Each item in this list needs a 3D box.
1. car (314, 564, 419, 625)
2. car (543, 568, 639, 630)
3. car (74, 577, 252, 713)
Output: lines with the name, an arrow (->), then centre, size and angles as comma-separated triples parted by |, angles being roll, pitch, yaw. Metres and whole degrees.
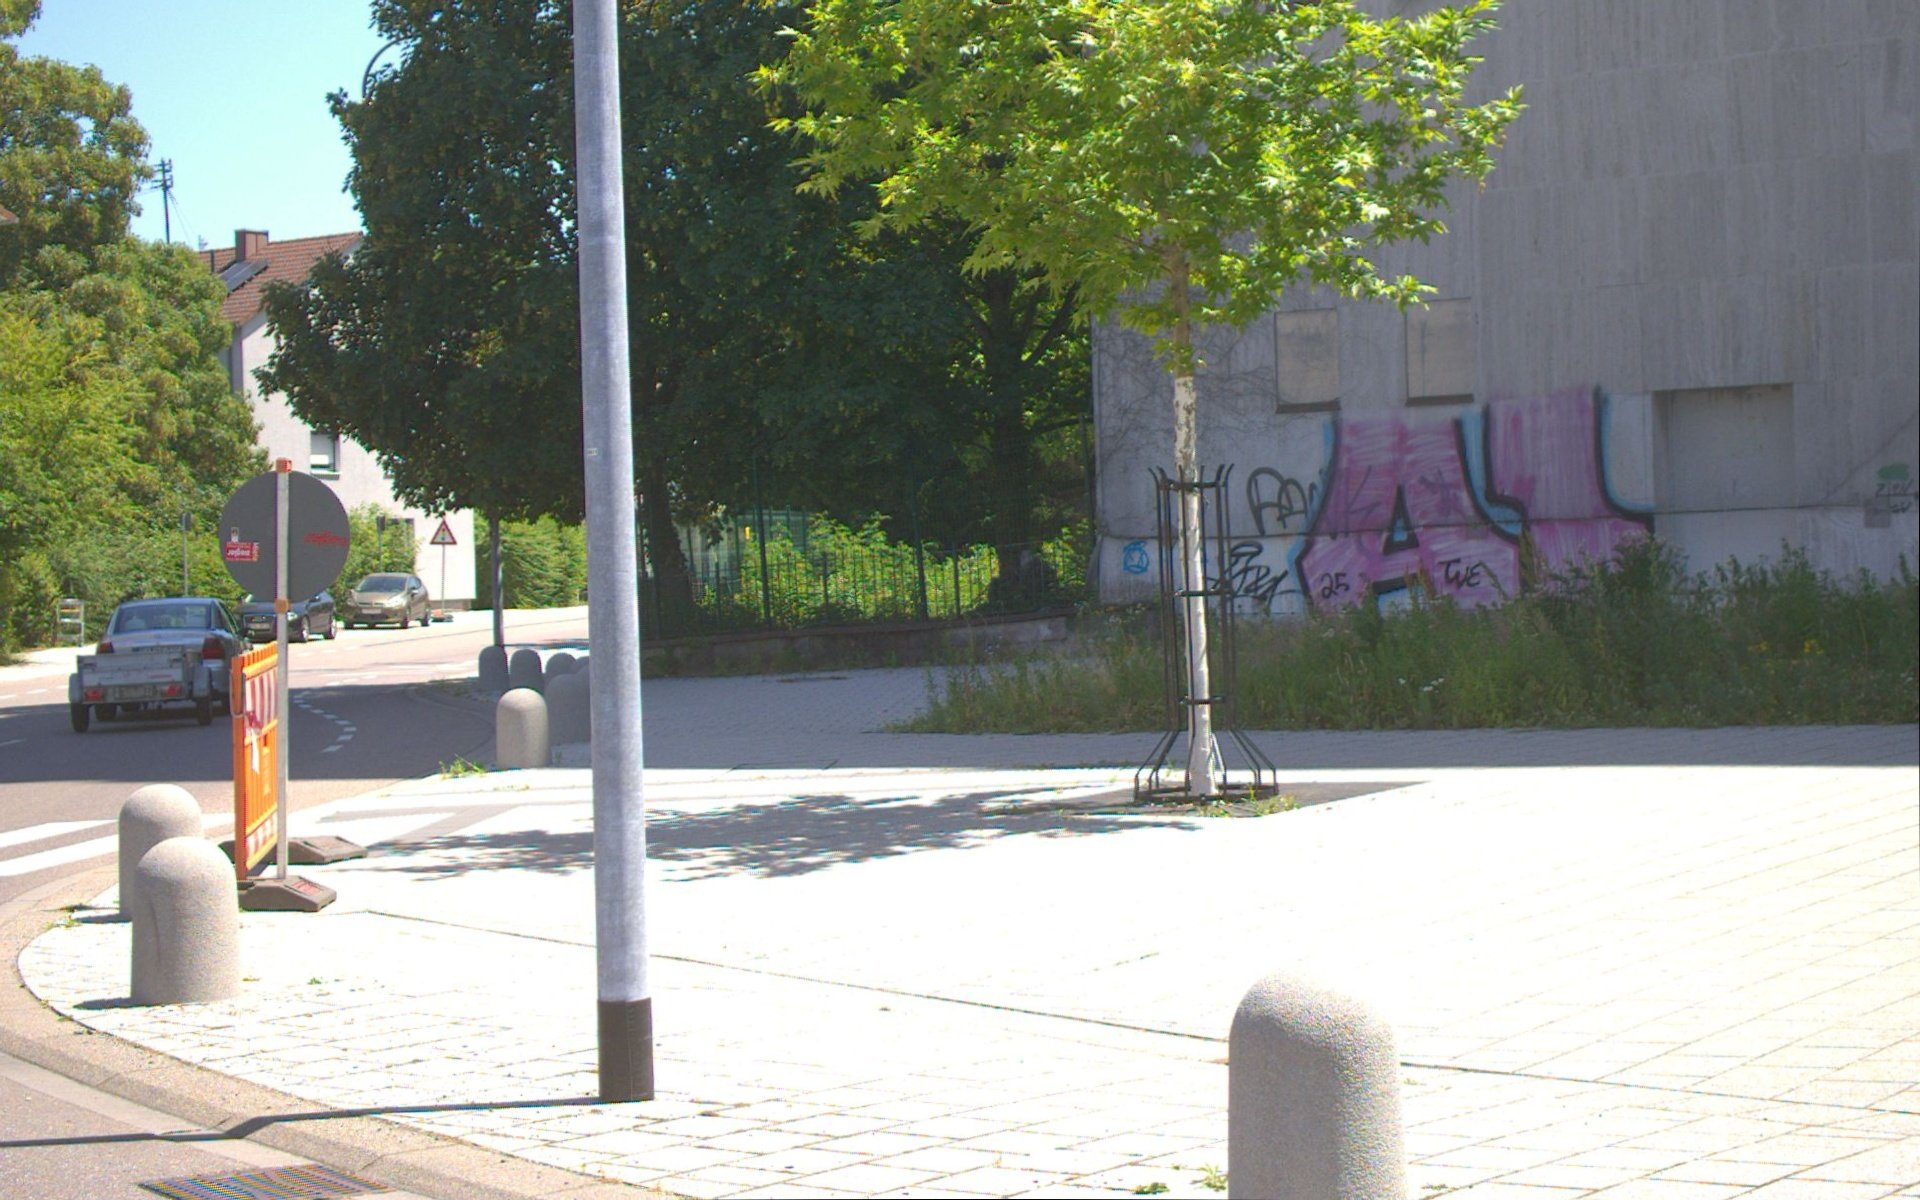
car -> -15.690, -0.154, 91.050 | 1.739, 1.431, 3.710 | -3, 1, 6
car -> -9.568, -0.051, 89.380 | 1.739, 1.431, 3.710 | -3, 1, 5
car -> -9.494, 0.500, 41.151 | 1.738, 1.431, 3.711 | -3, 1, -9
